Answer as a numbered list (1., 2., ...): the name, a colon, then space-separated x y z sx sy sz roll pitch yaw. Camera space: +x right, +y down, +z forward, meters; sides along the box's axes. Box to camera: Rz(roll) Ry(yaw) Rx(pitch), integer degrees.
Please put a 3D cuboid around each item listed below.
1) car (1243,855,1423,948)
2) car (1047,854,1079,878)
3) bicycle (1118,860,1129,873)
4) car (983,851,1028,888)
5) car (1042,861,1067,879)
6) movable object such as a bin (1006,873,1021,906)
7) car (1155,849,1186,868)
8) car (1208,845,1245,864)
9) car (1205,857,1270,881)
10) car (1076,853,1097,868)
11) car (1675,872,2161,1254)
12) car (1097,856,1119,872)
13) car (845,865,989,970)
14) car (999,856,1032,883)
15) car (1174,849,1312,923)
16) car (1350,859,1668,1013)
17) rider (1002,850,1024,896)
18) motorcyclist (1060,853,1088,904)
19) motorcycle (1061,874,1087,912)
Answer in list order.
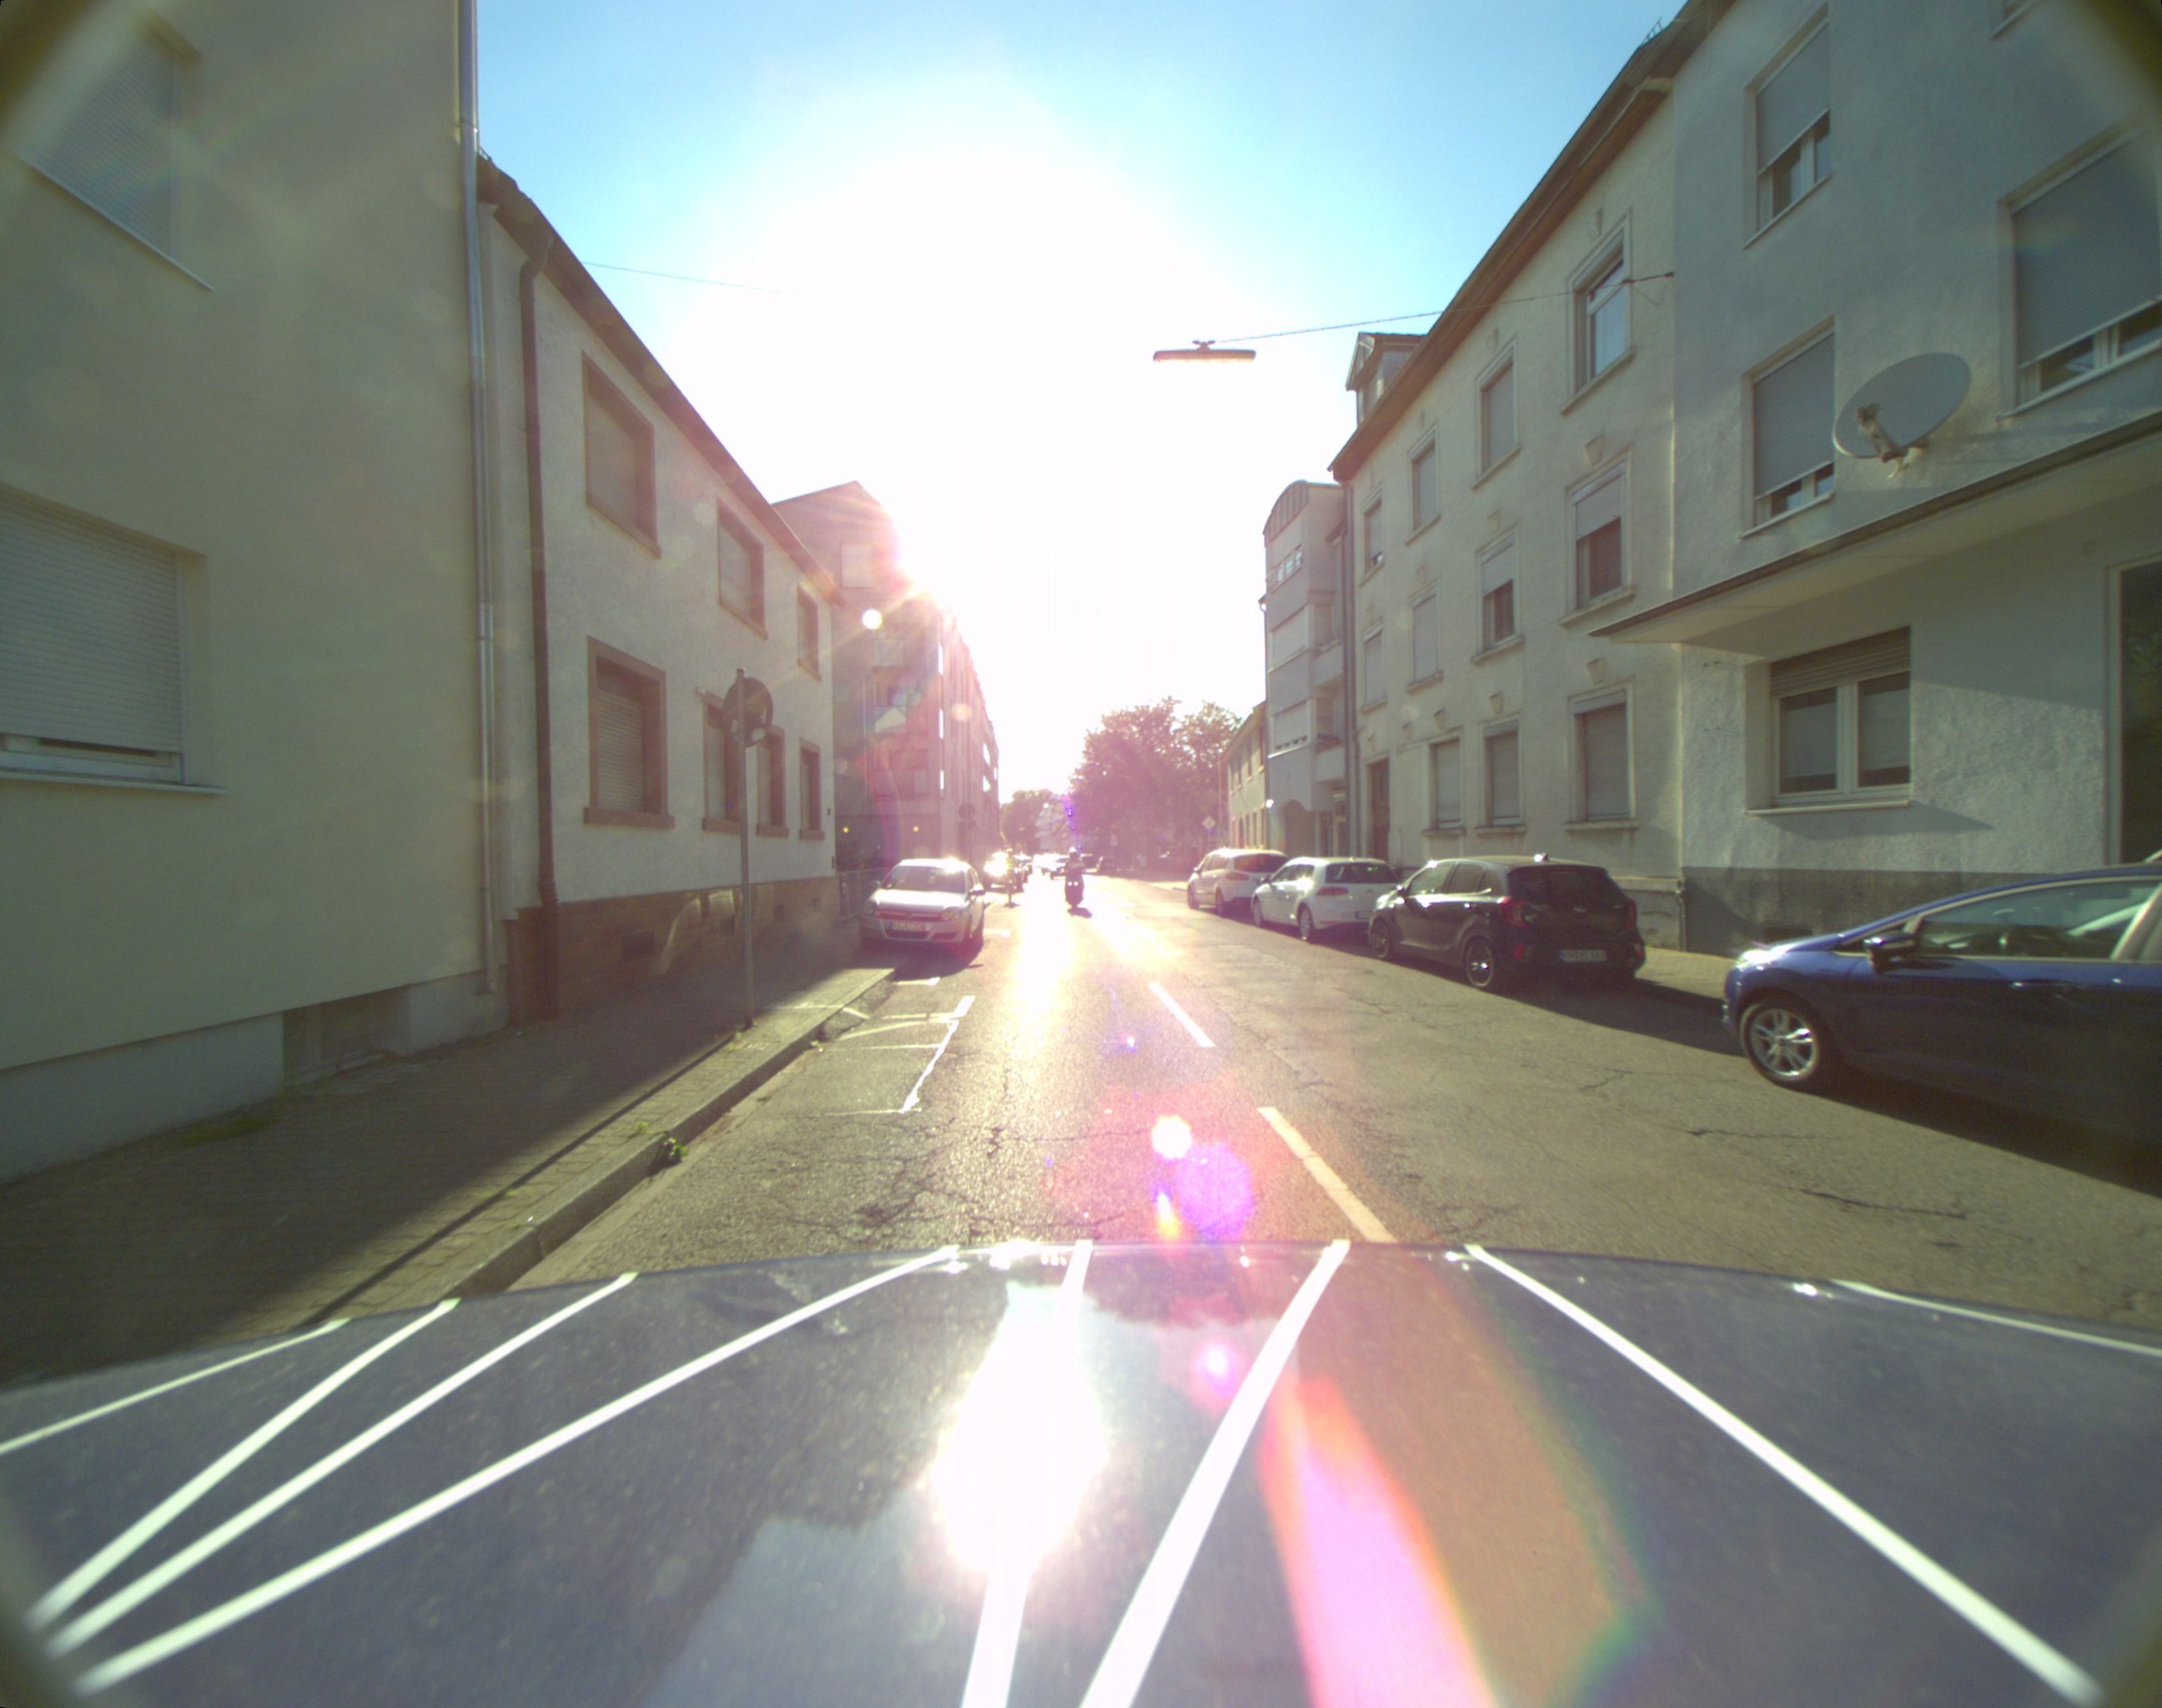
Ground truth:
1. car: 4.559 0.780 14.439 1.770 1.487 4.124 -1 0 -5
2. car: -1.298 0.785 53.123 1.709 1.570 3.912 -2 1 -9
3. bicycle: 3.399 0.982 61.213 0.705 0.997 1.941 -2 0 0
4. car: -3.602 0.736 36.872 1.860 1.626 4.622 2 0 -3
5. car: -2.305 1.325 64.816 1.822 1.458 4.267 0 0 -5
6. movable object such as a bin: -2.436 1.268 27.370 0.456 1.027 1.839 -4 2 -5
7. car: 9.123 0.472 77.832 1.849 1.884 4.903 -1 0 -8
8. car: 15.042 0.037 78.769 2.025 1.937 4.317 -1 0 -16
9. car: 10.066 0.988 49.064 3.778 1.521 2.000 0 -1 -3
10. car: 0.640 0.783 94.245 1.937 1.695 5.097 -3 1 -6
11. car: 5.267 0.889 3.558 1.736 1.490 3.957 0 0 -3
12. car: 2.676 0.971 75.283 1.702 1.483 3.998 0 0 -5
13. car: -2.694 0.975 13.504 1.746 1.483 4.437 1 0 -2
14. car: -4.341 0.996 49.760 2.000 1.643 4.760 -1 -1 -6
15. car: 4.038 0.732 20.014 2.000 1.638 5.219 -1 0 -6
16. car: 4.976 0.831 9.522 1.665 1.517 3.807 0 0 -4
17. rider: -2.434 0.650 27.111 0.655 1.553 1.082 -4 2 -5
18. motorcyclist: -0.213 0.684 21.842 0.718 1.424 0.746 0 1 -6
19. motorcycle: -0.220 1.093 21.919 0.599 1.004 1.820 0 0 -5
